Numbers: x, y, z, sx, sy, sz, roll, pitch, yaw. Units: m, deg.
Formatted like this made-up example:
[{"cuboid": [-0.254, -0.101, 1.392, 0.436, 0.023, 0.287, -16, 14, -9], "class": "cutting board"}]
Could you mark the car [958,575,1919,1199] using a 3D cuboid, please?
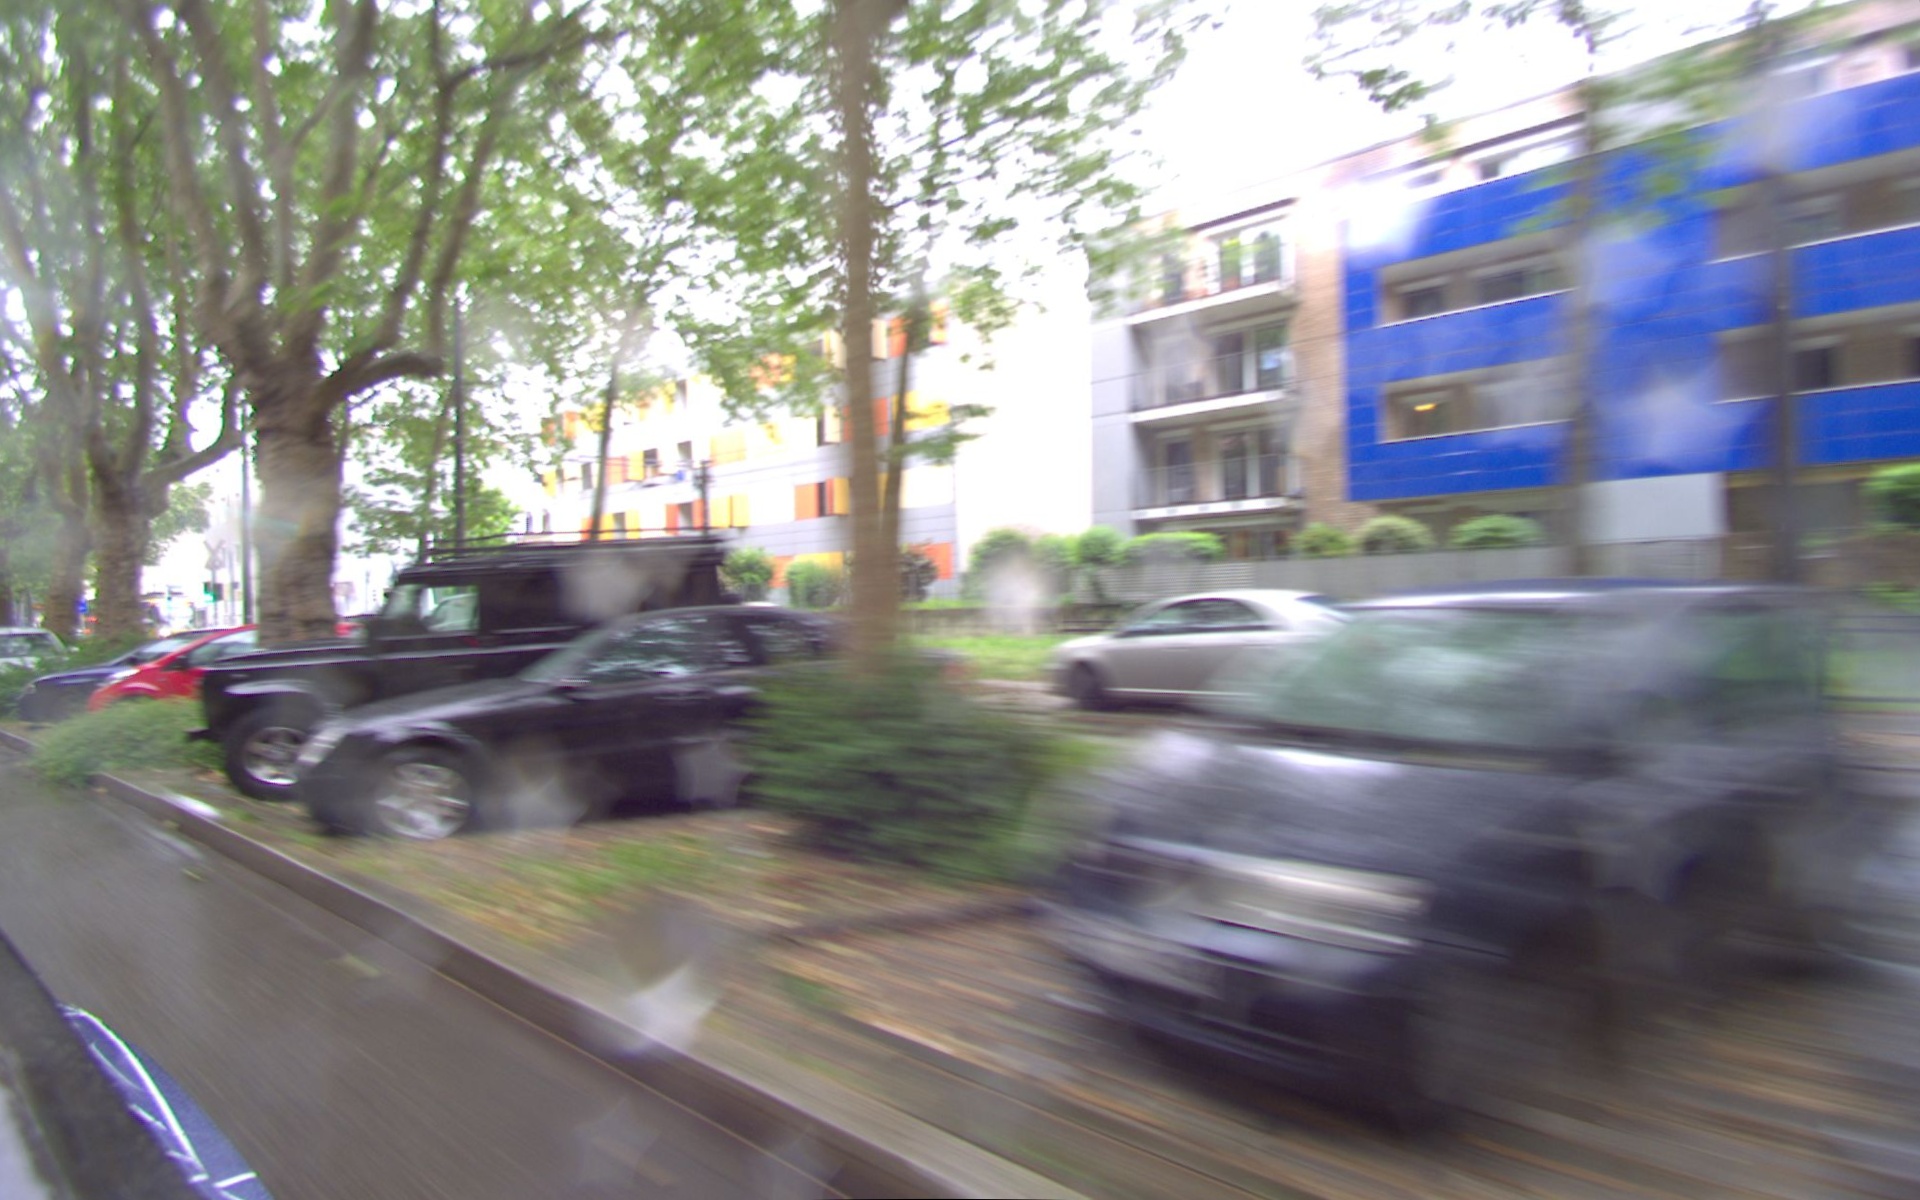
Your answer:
[{"cuboid": [1.915, 0.695, 3.557, 3.451, 1.479, 1.647, -1, -1, -28], "class": "car"}]

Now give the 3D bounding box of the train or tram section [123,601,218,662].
[{"cuboid": [-52.985, 2.085, 67.738, 11.547, 3.669, 2.869, -2, 0, 41], "class": "train or tram section"}]

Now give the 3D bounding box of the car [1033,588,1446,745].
[{"cuboid": [3.217, 0.718, 12.248, 4.421, 1.545, 1.883, -2, -1, 43], "class": "car"}]

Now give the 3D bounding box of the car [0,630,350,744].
[{"cuboid": [-11.628, 1.221, 15.251, 3.976, 1.446, 1.787, -1, -1, -24], "class": "car"}]

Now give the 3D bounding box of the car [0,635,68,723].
[{"cuboid": [-18.640, 1.495, 19.427, 4.205, 1.526, 1.711, -2, 0, 41], "class": "car"}]

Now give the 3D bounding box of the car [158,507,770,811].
[{"cuboid": [-4.246, 0.440, 9.368, 4.580, 2.300, 2.018, -1, -1, -20], "class": "car"}]

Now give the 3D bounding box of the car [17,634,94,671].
[{"cuboid": [-37.712, 2.177, 42.172, 3.996, 1.431, 1.815, -3, -1, 40], "class": "car"}]

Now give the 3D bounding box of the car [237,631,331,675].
[{"cuboid": [-25.038, 1.929, 37.419, 4.387, 1.474, 1.884, -2, -1, 42], "class": "car"}]

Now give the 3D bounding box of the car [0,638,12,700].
[{"cuboid": [-25.502, 1.765, 25.484, 4.619, 1.496, 1.877, -2, 0, 41], "class": "car"}]

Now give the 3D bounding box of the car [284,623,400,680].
[{"cuboid": [-19.614, 1.609, 32.057, 4.465, 1.612, 1.884, -2, -1, 41], "class": "car"}]

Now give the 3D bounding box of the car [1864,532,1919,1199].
[{"cuboid": [3.679, 0.581, 1.676, 3.995, 1.549, 1.841, -2, -1, -26], "class": "car"}]

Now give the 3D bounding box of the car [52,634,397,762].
[{"cuboid": [-9.701, 1.228, 13.687, 3.442, 1.447, 1.787, -1, -1, -22], "class": "car"}]

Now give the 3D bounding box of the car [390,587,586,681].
[{"cuboid": [-11.724, 0.833, 24.960, 5.426, 2.012, 2.035, -2, 1, 38], "class": "car"}]

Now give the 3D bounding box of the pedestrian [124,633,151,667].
[{"cuboid": [-44.564, 2.692, 54.843, 1.205, 1.813, 0.926, -1, -1, 40], "class": "pedestrian"}]

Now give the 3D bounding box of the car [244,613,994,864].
[{"cuboid": [-2.236, 0.811, 7.393, 4.579, 1.336, 1.853, -1, -1, -22], "class": "car"}]
